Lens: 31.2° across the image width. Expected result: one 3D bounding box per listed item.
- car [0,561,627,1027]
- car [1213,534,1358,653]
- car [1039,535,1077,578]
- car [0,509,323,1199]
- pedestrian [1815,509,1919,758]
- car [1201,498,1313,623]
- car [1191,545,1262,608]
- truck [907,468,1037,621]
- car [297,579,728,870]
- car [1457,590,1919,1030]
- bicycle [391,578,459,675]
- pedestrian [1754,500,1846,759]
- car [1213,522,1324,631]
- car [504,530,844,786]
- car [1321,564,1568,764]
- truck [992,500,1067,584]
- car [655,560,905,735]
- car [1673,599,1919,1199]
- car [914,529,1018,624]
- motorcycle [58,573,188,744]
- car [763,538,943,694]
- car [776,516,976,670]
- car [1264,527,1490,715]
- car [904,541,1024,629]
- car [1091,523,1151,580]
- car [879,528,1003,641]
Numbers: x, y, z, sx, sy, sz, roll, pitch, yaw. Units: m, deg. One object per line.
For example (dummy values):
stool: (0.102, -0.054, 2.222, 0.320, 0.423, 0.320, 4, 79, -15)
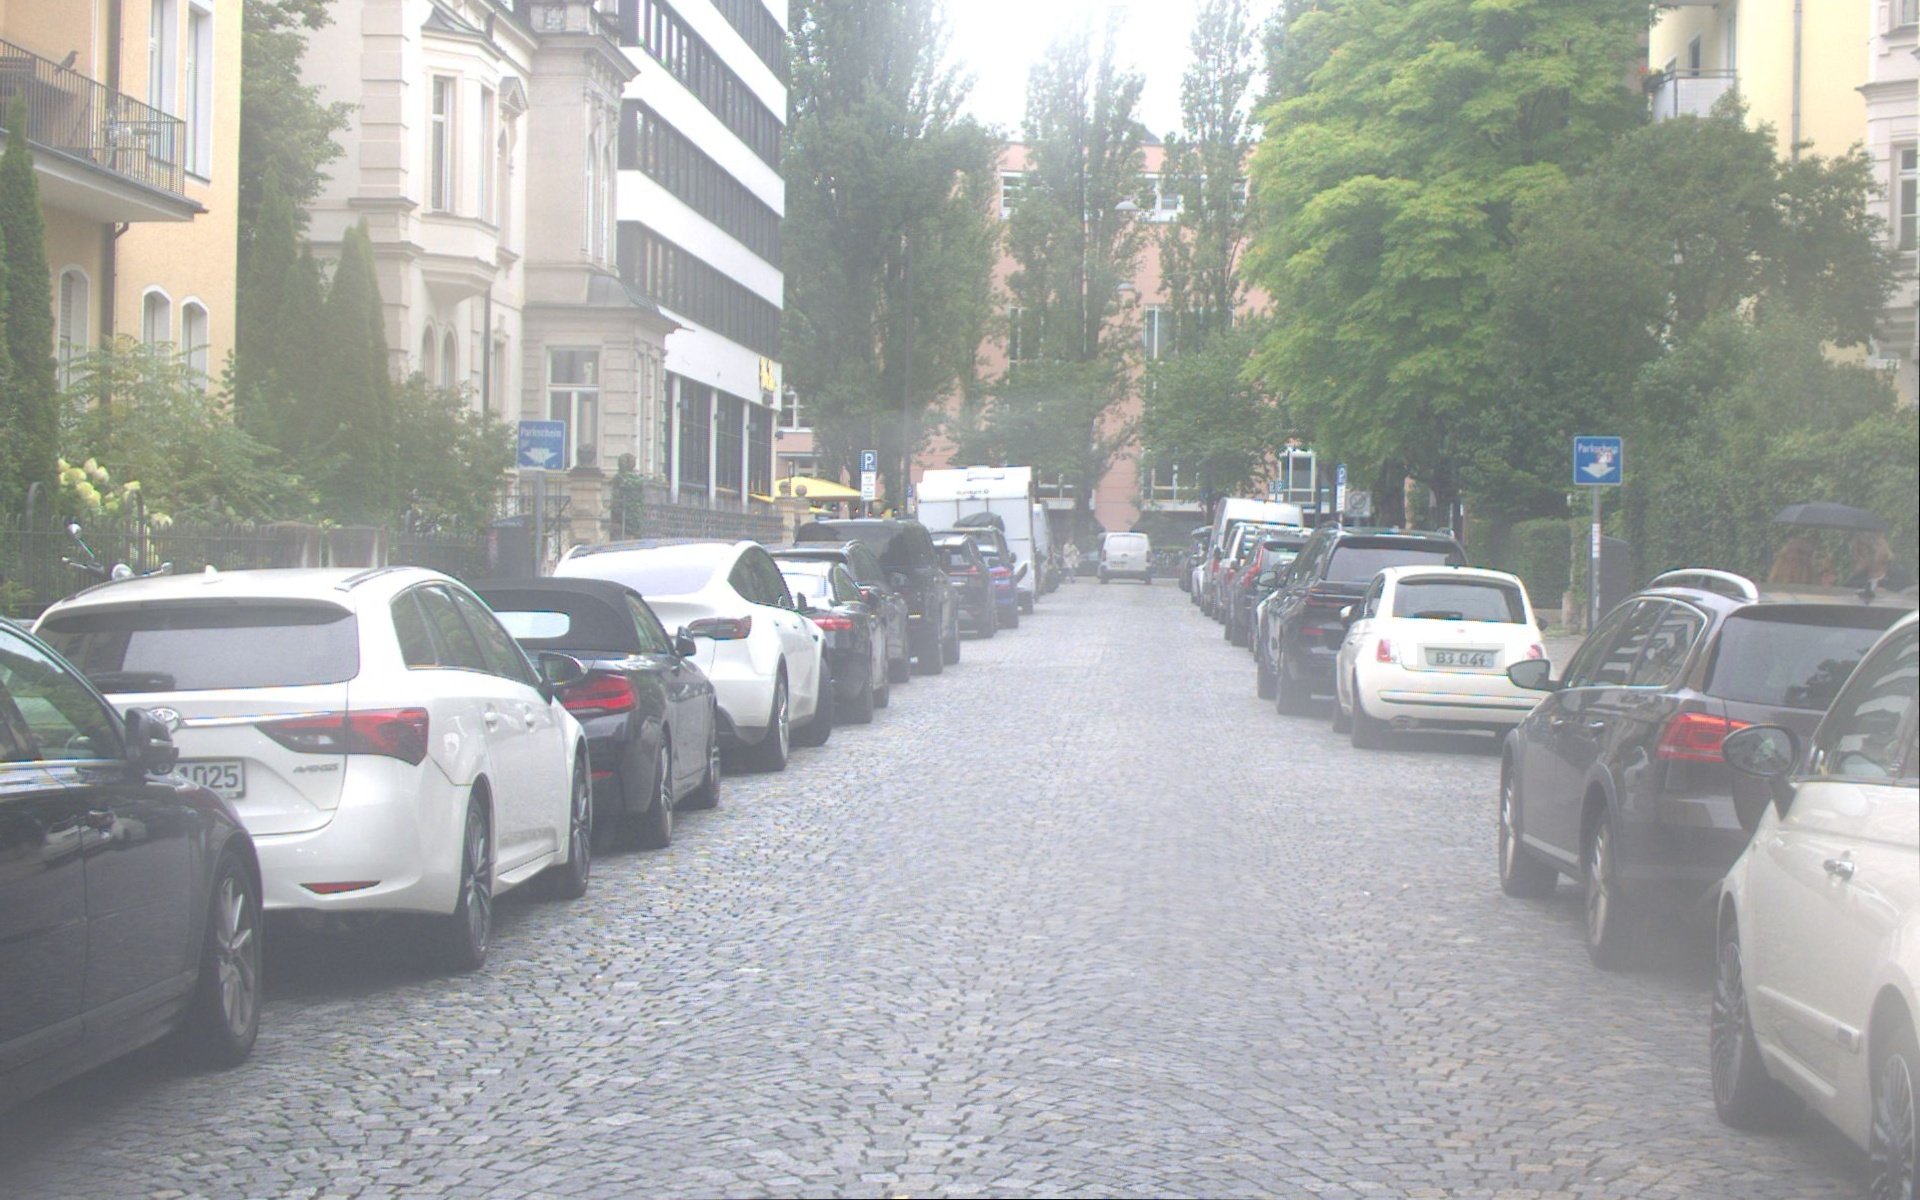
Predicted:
car: (-2.542, 0.626, 13.635, 1.774, 1.531, 4.540, 0, 0, 3)
car: (5.089, -0.121, 54.253, 1.963, 1.753, 4.954, 1, 1, 2)
car: (3.619, -1.582, 126.602, 1.277, 1.536, 3.118, 1, 0, 3)
car: (-3.052, 0.555, 8.717, 1.852, 1.580, 4.748, 1, 1, 1)
pedestrian: (6.782, 0.241, 25.338, 0.628, 1.802, 0.660, 1, 0, -20)
car: (6.267, -0.873, 73.053, 1.895, 2.418, 5.611, 5, 2, 2)
car: (6.617, -0.590, 85.487, 1.600, 1.481, 3.479, 1, 1, 2)
truck: (0.313, -1.177, 72.034, 2.508, 3.021, 6.384, -1, 1, 2)
car: (-2.324, 0.590, 18.900, 1.773, 1.355, 4.391, 1, 1, 0)
car: (3.203, 0.744, 14.242, 1.648, 1.417, 4.632, 4, 1, 2)
bicycle: (-5.707, 0.269, 36.702, 0.352, 0.999, 1.572, 1, 0, 4)
pedestrian: (6.078, 0.203, 24.892, 0.576, 1.844, 0.681, 1, 1, 11)
car: (6.016, -0.461, 67.424, 1.800, 1.943, 4.860, 4, 1, 2)
car: (-1.962, 0.363, 24.864, 1.774, 1.642, 4.390, 1, 1, 4)
car: (3.980, 0.484, 28.720, 1.630, 1.464, 3.659, 3, 1, 3)
truck: (2.053, -1.683, 100.638, 1.994, 2.338, 4.068, 1, 0, 3)
car: (-1.550, 0.379, 31.093, 1.774, 1.424, 4.390, 1, 1, 3)
car: (2.748, 0.756, 8.277, 1.502, 1.466, 3.795, 1, 0, 4)
car: (0.152, -0.469, 65.993, 1.894, 1.745, 4.168, 1, 1, 1)
motorcycle: (-6.089, 0.404, 25.065, 0.491, 1.190, 1.579, 1, 1, 2)
car: (-1.111, 0.156, 37.243, 1.580, 1.584, 4.055, -1, 0, 3)
car: (-0.967, -0.134, 42.145, 1.983, 1.731, 4.722, 1, 1, 4)
car: (4.044, 0.166, 34.087, 1.875, 1.667, 5.490, 1, 1, 4)
car: (0.105, -0.274, 60.658, 1.940, 1.454, 4.058, 1, 1, 2)
car: (5.749, -1.706, 122.186, 1.997, 1.929, 3.999, 1, 0, 4)
car: (-0.270, -0.257, 55.484, 1.774, 1.712, 4.391, 1, 1, 2)
